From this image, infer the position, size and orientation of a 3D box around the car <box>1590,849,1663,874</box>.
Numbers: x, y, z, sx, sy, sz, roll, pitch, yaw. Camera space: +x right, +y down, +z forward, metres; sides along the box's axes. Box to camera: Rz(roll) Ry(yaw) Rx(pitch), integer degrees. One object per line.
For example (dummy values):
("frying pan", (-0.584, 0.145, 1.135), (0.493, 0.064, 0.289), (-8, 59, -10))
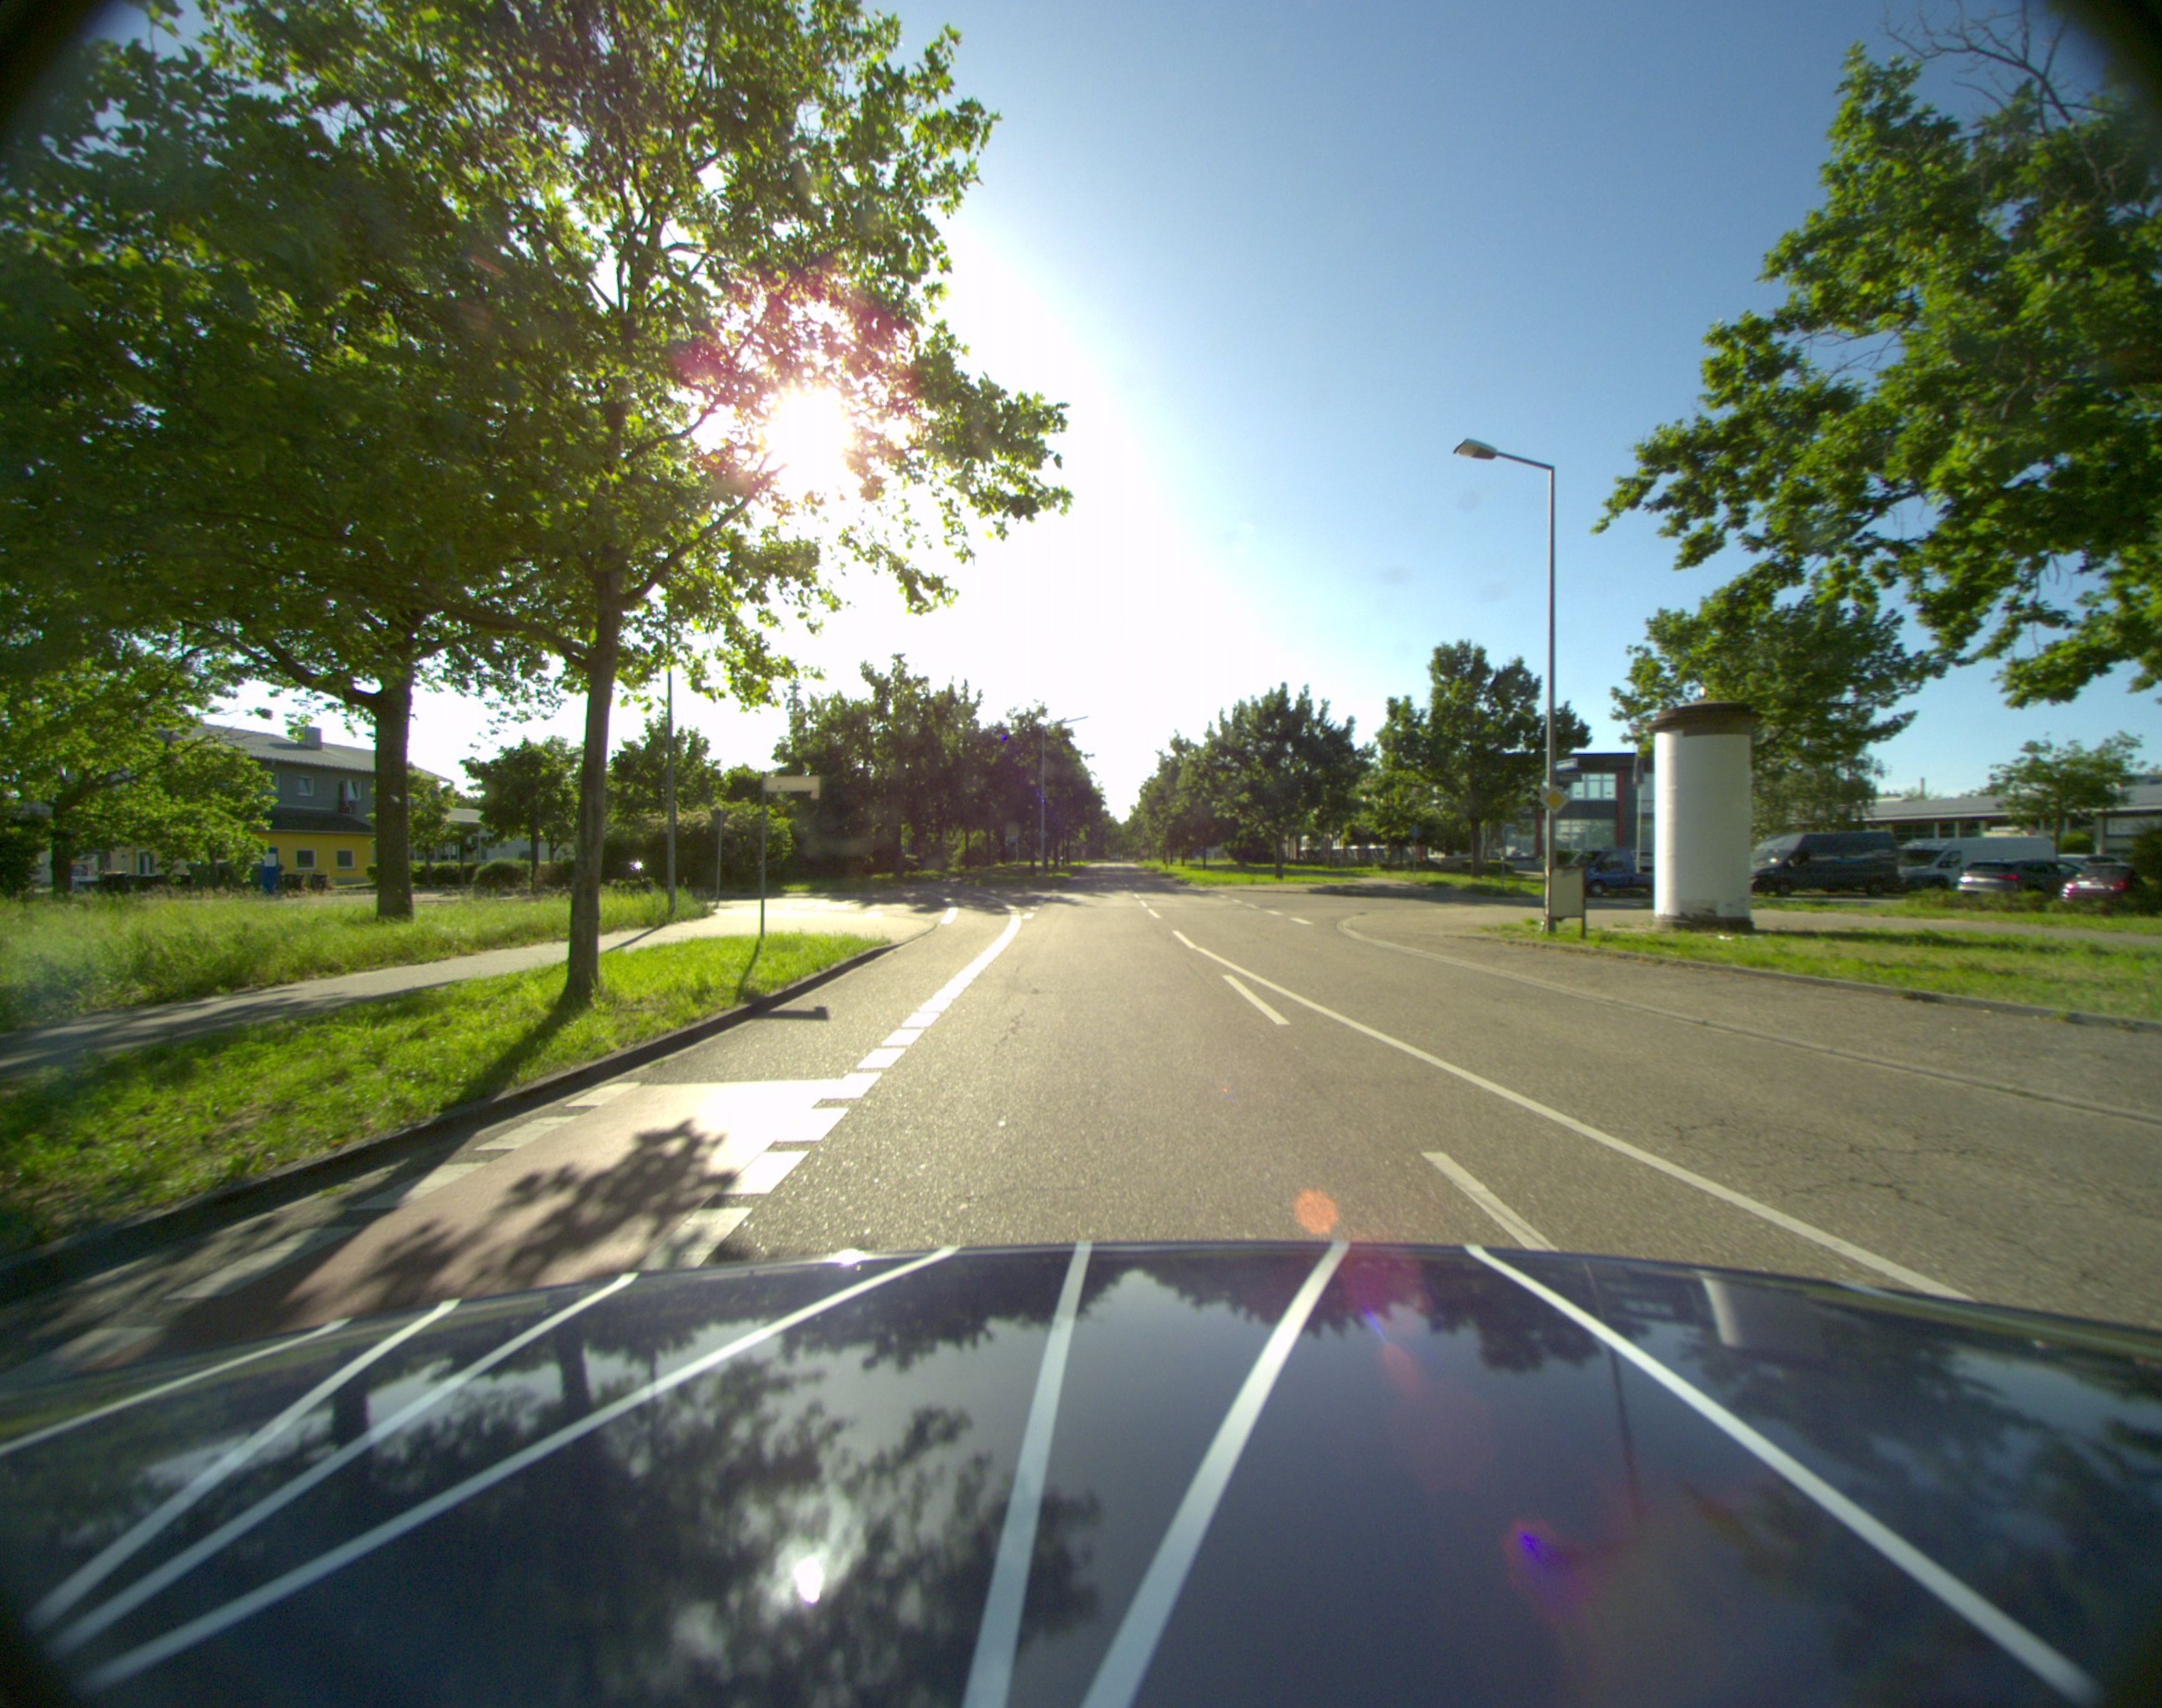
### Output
("car", (38.067, 0.481, 53.184), (1.999, 1.486, 4.296), (-2, 3, -1))

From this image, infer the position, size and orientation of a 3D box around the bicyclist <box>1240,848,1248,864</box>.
("bicyclist", (16.701, 0.180, 77.660), (0.665, 1.619, 0.659), (-1, 1, 2))

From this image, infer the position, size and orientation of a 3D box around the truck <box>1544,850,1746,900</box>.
("truck", (23.988, 0.859, 32.500), (7.130, 2.038, 2.140), (0, 1, -2))

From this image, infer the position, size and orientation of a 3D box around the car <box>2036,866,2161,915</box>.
("car", (32.987, 1.126, 23.772), (4.202, 1.472, 1.824), (0, -1, -4))

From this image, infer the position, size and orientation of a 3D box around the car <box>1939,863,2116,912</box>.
("car", (33.918, 1.189, 27.304), (4.297, 1.586, 1.758), (1, 2, -3))

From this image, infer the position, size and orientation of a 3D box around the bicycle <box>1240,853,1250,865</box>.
("bicycle", (16.759, 0.489, 77.707), (0.552, 1.155, 2.334), (-1, 1, 2))

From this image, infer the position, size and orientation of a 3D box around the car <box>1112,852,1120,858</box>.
("car", (8.317, 0.202, 180.299), (1.827, 1.477, 3.999), (-2, 1, 0))

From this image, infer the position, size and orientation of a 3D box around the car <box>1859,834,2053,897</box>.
("car", (38.730, 0.470, 33.751), (6.356, 2.501, 2.300), (-2, 1, -4))

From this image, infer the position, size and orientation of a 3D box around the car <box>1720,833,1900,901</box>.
("car", (31.510, 0.515, 32.957), (5.878, 2.687, 2.300), (-2, 1, -4))
